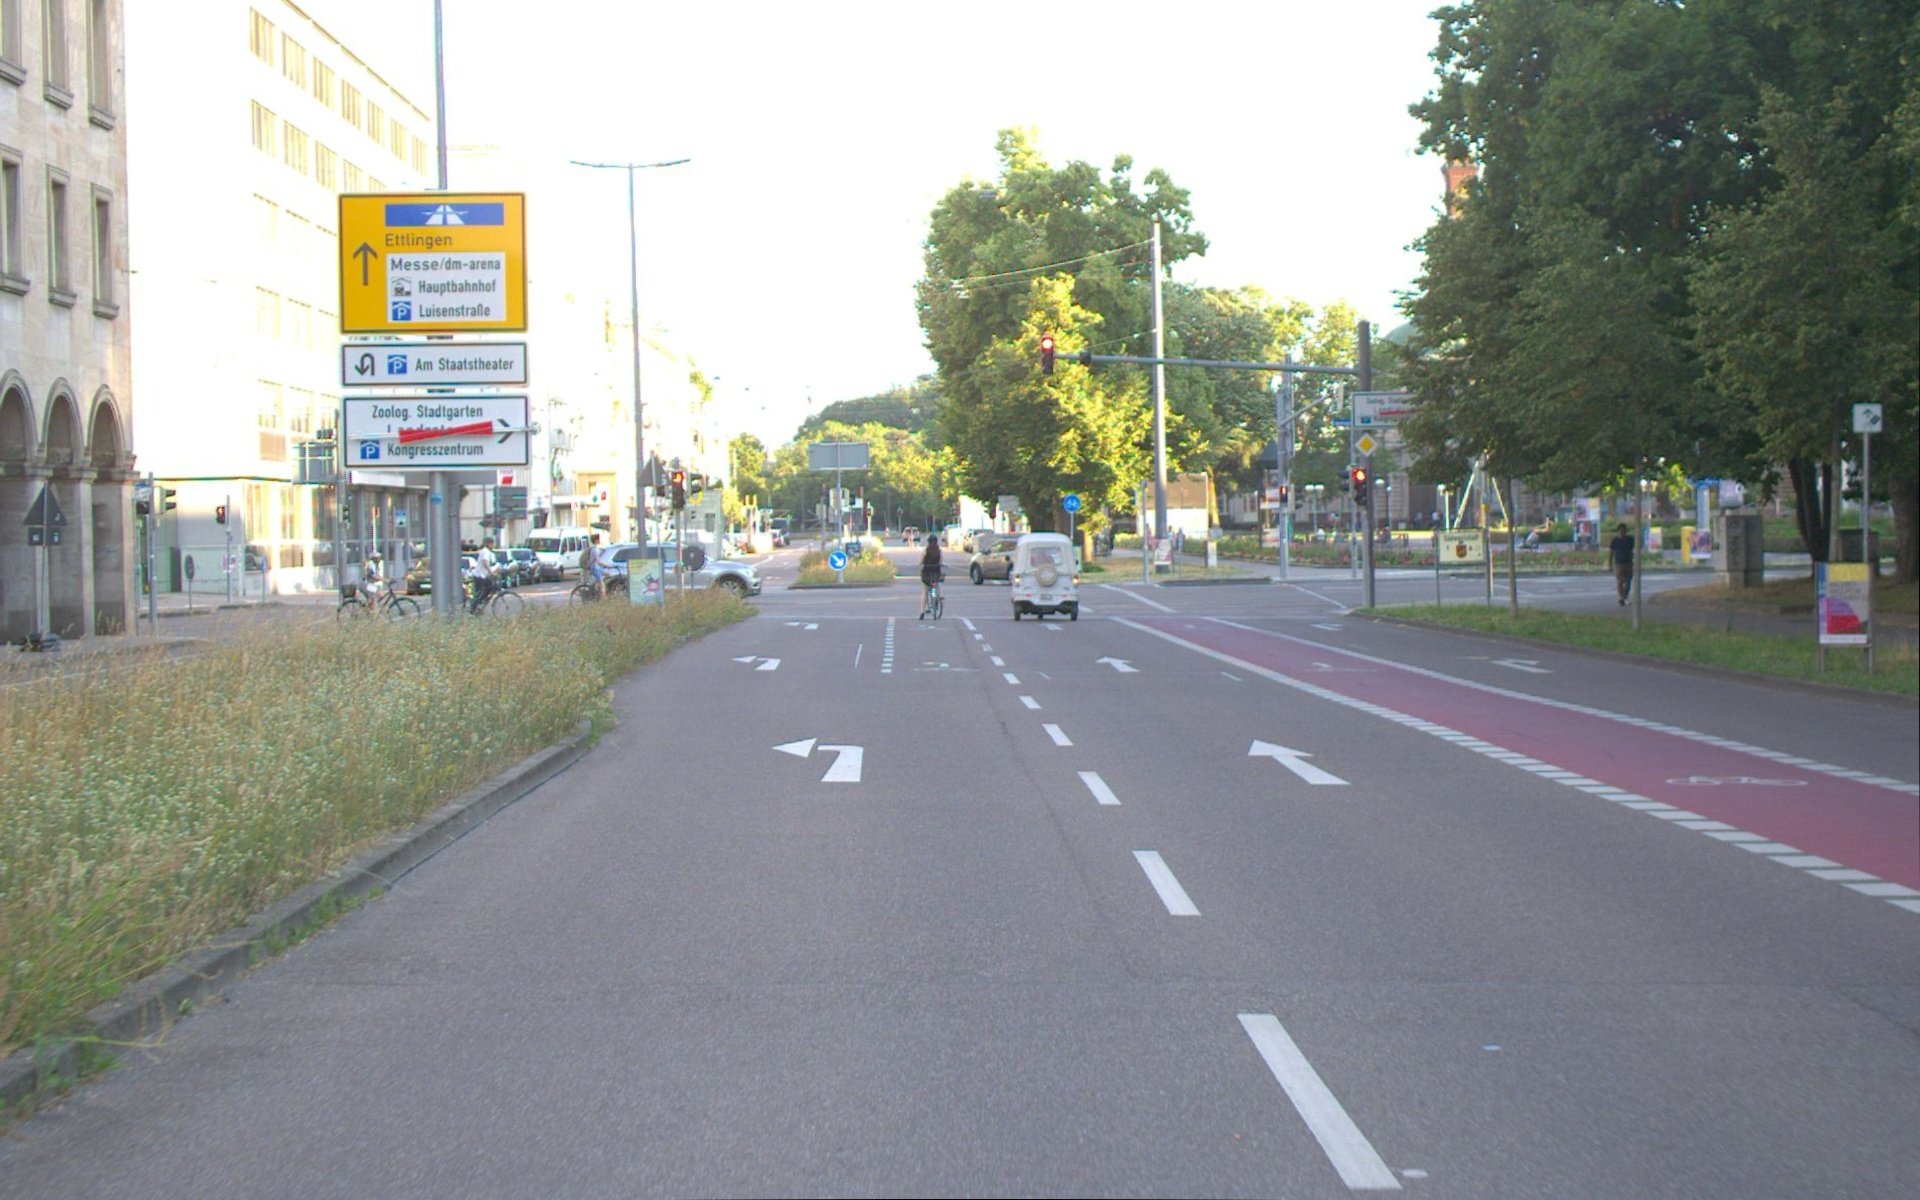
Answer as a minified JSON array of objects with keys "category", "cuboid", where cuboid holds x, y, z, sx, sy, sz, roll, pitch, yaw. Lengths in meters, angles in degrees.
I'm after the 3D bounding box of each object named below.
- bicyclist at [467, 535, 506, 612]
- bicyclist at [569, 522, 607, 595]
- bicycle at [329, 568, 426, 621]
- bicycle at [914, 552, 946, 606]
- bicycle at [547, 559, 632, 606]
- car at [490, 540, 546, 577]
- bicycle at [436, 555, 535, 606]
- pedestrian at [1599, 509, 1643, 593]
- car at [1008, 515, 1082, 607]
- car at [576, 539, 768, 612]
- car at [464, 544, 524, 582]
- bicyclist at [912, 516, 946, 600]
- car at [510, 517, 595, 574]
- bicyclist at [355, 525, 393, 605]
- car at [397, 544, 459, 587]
[{"category":"bicyclist","cuboid":[-10.420,-0.586,75.697,0.746,1.687,0.765,-1,1,-2]},{"category":"bicyclist","cuboid":[-8.709,-0.968,80.448,0.746,1.687,0.715,-1,1,2]},{"category":"bicycle","cuboid":[-12.540,-0.122,74.049,2.014,1.065,0.731,-1,1,-7]},{"category":"bicycle","cuboid":[-0.620,-0.439,70.194,0.637,1.065,2.069,0,1,-1]},{"category":"bicycle","cuboid":[-8.661,-0.409,80.439,1.896,1.065,0.731,0,1,2]},{"category":"car","cuboid":[-19.550,-1.838,152.130,1.796,1.470,3.999,-1,-1,2]},{"category":"bicycle","cuboid":[-10.438,-0.434,75.716,2.058,1.065,0.787,-1,1,0]},{"category":"pedestrian","cuboid":[13.516,-1.001,70.273,0.695,1.687,0.748,-1,1,-2]},{"category":"car","cuboid":[1.720,-0.803,69.637,1.459,1.774,2.564,-1,2,1]},{"category":"car","cuboid":[-7.083,-0.617,84.396,4.532,1.642,2.001,-1,1,-9]},{"category":"car","cuboid":[-19.753,-1.563,145.729,1.796,1.470,3.999,-2,-1,3]},{"category":"bicyclist","cuboid":[-0.631,-0.853,69.871,0.628,1.687,0.748,-1,1,-2]},{"category":"car","cuboid":[-18.793,-2.493,158.725,2.177,2.377,5.986,-2,-1,10]},{"category":"bicyclist","cuboid":[-12.617,-0.761,74.033,0.746,1.687,0.715,-1,1,-8]},{"category":"car","cuboid":[-19.899,-1.277,128.744,1.796,1.470,4.000,-1,-1,-2]}]
